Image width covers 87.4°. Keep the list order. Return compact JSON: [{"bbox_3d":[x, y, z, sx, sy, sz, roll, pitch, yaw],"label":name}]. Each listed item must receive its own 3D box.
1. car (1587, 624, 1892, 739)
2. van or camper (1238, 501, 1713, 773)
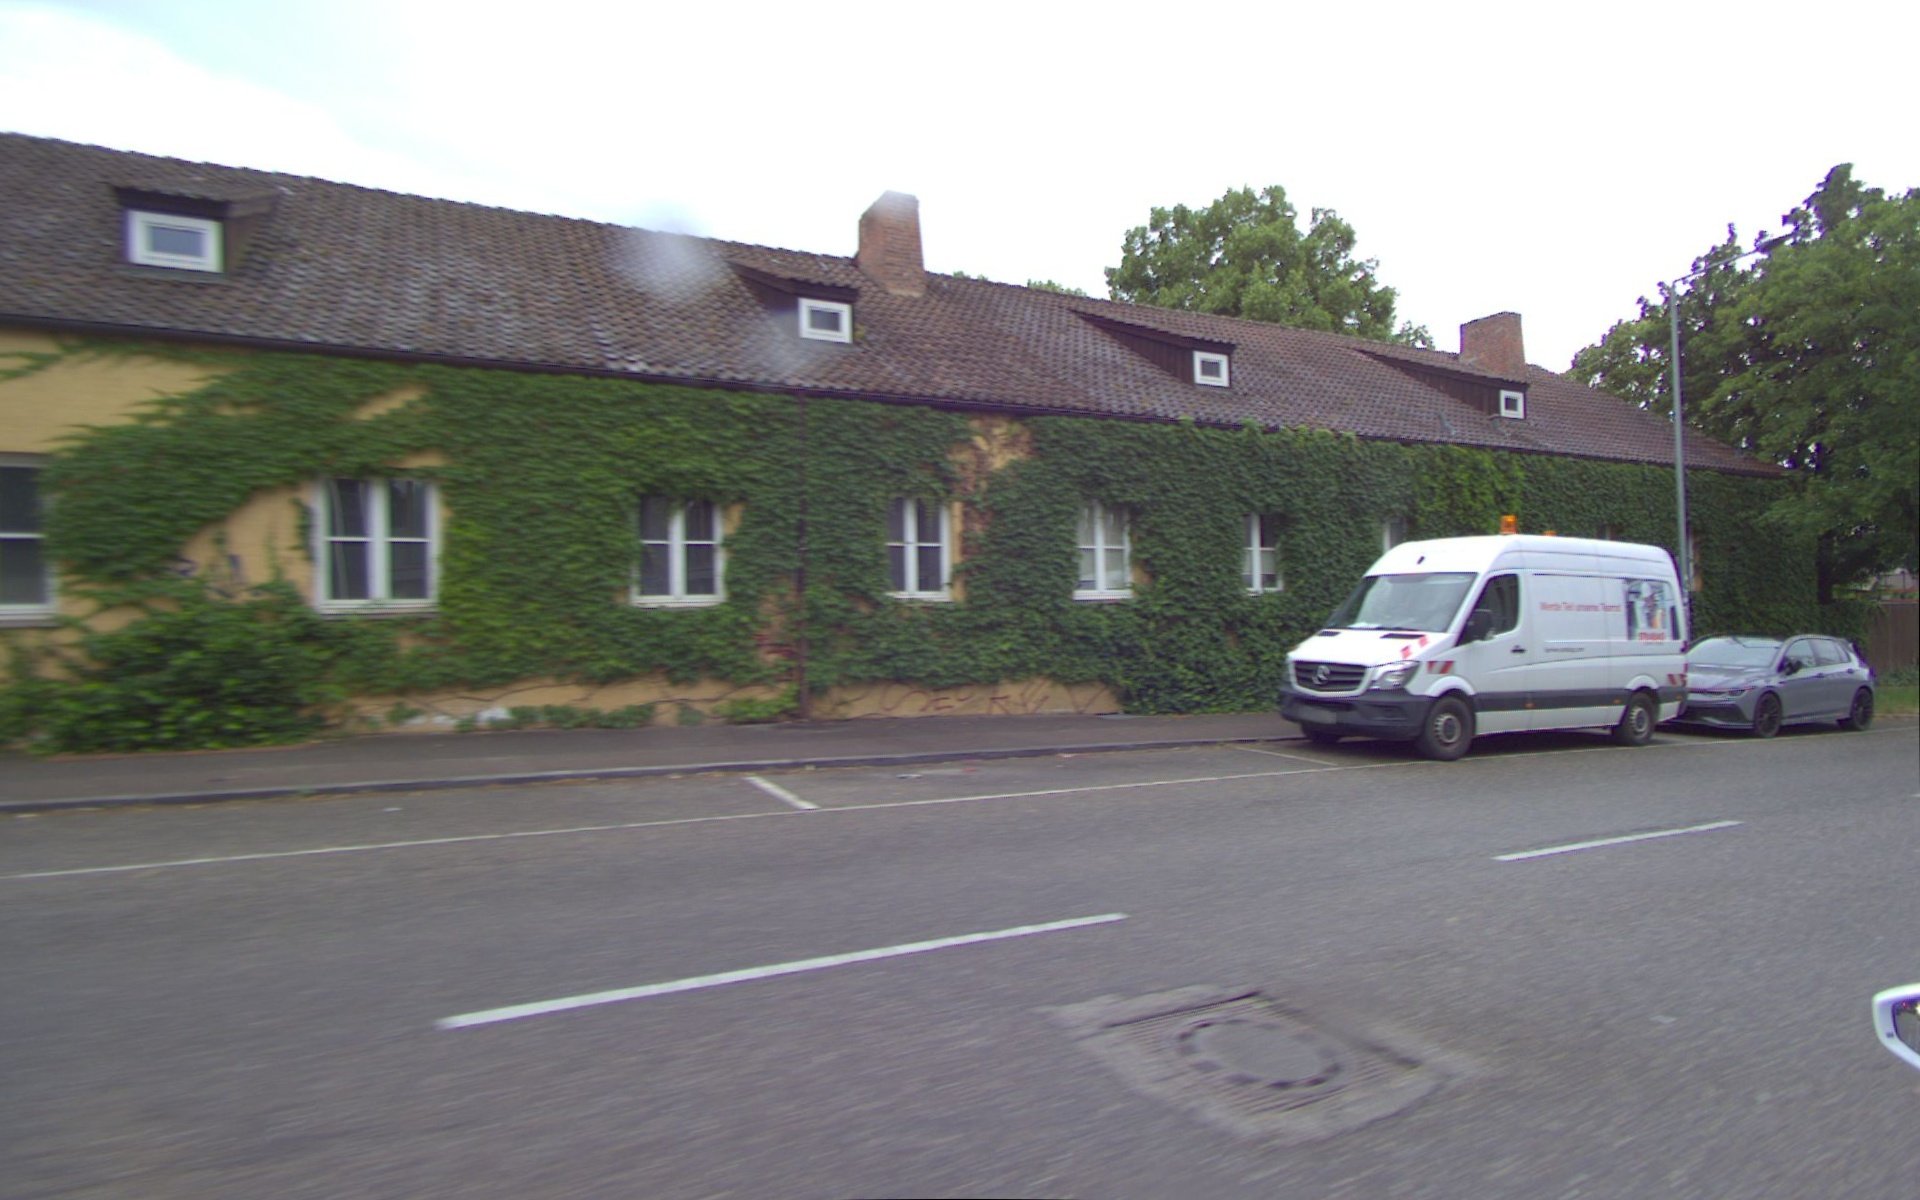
[{"bbox_3d":[12.007,1.180,15.460,4.364,1.532,1.987,2,-1,-26],"label":"car"},{"bbox_3d":[6.654,0.423,12.790,6.063,2.802,2.331,1,-1,-27],"label":"van or camper"}]
